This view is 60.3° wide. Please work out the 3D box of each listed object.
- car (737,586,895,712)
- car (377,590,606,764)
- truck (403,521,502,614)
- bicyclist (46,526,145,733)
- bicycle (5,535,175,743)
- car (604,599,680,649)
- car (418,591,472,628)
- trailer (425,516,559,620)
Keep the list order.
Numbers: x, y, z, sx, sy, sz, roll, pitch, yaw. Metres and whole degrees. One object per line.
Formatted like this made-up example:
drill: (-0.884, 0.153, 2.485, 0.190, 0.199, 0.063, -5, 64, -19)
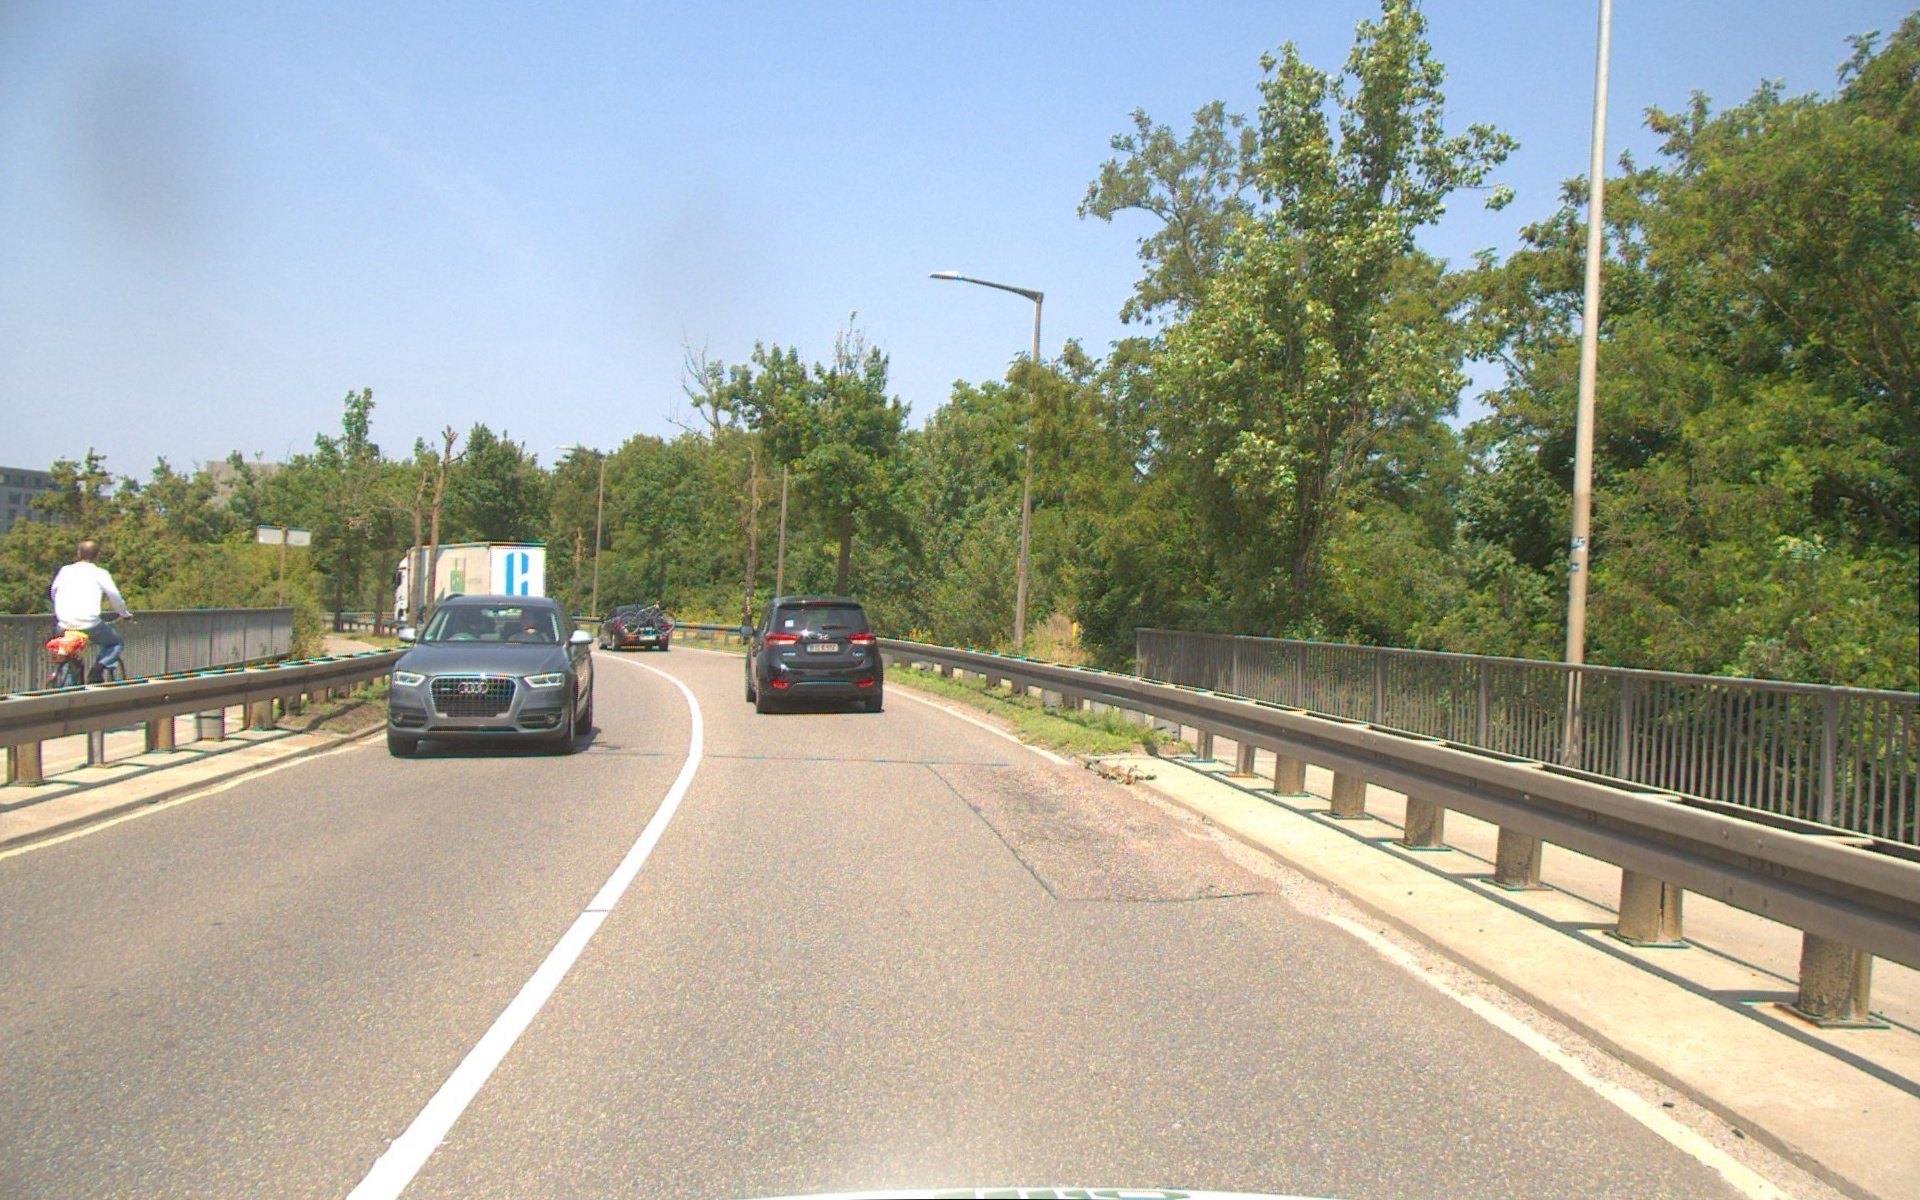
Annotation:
car: (-2.150, 0.643, 23.783, 1.887, 1.601, 3.882, 1, 1, -11)
car: (-4.814, 0.715, 17.538, 1.789, 1.563, 4.187, 1, 1, -9)
truck: (-25.881, -1.643, 84.160, 3.534, 4.518, 6.452, 1, 1, -29)
bicyclist: (-8.200, 0.269, 15.714, 0.612, 1.919, 0.711, 1, 1, -8)
bicycle: (-8.188, 0.327, 15.681, 0.685, 1.833, 2.177, 1, 1, -7)
car: (-10.110, 0.736, 52.397, 1.980, 1.454, 3.759, 1, 1, -17)
car: (-21.110, 0.371, 67.714, 1.654, 1.468, 4.097, 0, 0, -25)
trailer: (-22.077, -1.507, 77.477, 3.531, 4.460, 11.331, 1, 1, -29)
